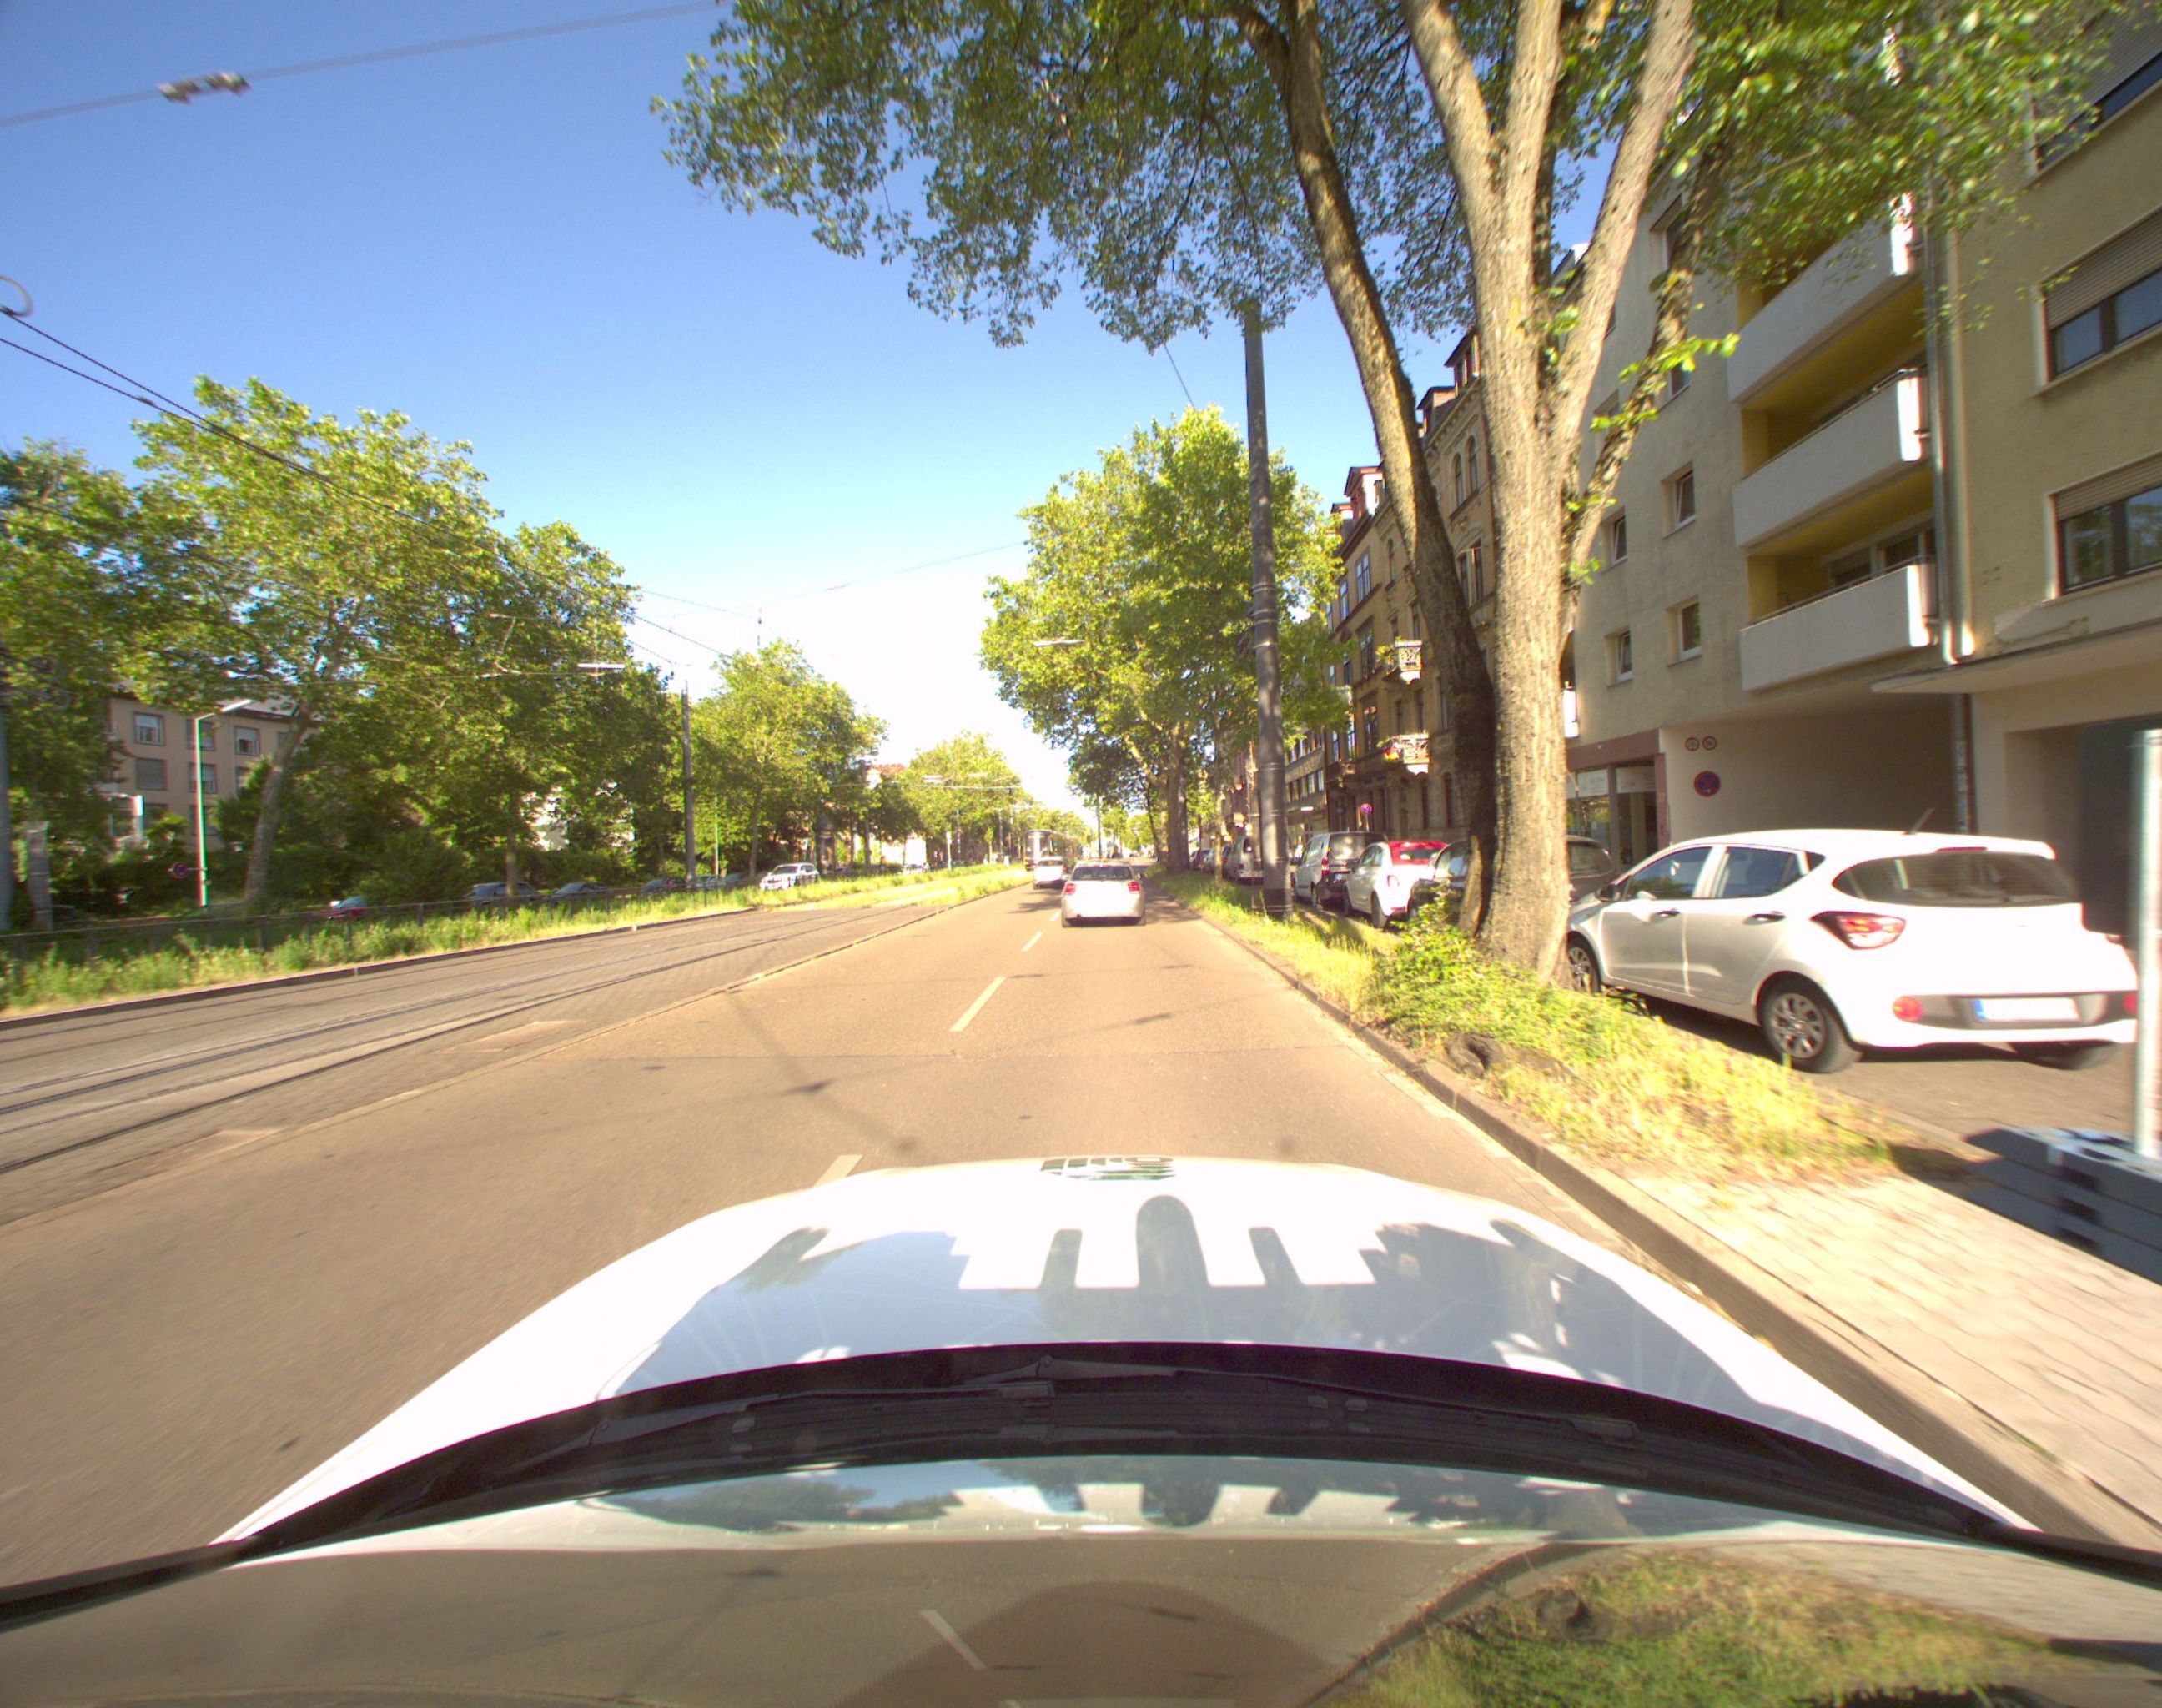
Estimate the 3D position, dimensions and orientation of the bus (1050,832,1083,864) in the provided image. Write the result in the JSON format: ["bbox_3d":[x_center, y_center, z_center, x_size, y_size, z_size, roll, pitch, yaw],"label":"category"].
[{"bbox_3d":[-1.624,-0.698,96.603,2.856,3.444,11.623,-2,0,4],"label":"bus"}]

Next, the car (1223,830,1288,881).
[{"bbox_3d":[6.717,0.026,31.799,1.856,1.815,4.806,0,1,4],"label":"car"}]

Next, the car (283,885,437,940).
[{"bbox_3d":[-26.184,2.074,29.782,1.986,1.622,4.001,0,1,1],"label":"car"}]

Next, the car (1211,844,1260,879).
[{"bbox_3d":[7.045,0.291,37.525,1.697,1.502,4.362,0,0,4],"label":"car"}]

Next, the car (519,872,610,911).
[{"bbox_3d":[-25.607,1.808,40.530,1.814,1.683,4.002,0,1,2],"label":"car"}]

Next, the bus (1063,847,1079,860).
[{"bbox_3d":[-3.006,-0.132,250.823,2.856,3.628,24.630,-2,0,4],"label":"bus"}]

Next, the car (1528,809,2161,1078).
[{"bbox_3d":[5.274,0.472,6.355,1.620,1.477,3.699,0,1,1],"label":"car"}]

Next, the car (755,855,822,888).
[{"bbox_3d":[-16.097,0.926,45.045,1.878,1.619,4.601,0,1,2],"label":"car"}]

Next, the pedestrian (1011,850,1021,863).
[{"bbox_3d":[-8.441,0.307,105.967,1.174,1.643,0.891,-2,-1,-4],"label":"pedestrian"}]

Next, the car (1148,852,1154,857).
[{"bbox_3d":[20.083,0.172,234.272,1.693,1.534,3.721,0,1,4],"label":"car"}]

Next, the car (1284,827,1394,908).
[{"bbox_3d":[5.829,0.245,18.849,1.617,1.668,4.148,0,1,6],"label":"car"}]

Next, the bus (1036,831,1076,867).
[{"bbox_3d":[-2.428,-0.528,84.643,2.856,3.444,12.228,-2,0,4],"label":"bus"}]

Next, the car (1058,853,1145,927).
[{"bbox_3d":[0.514,0.732,18.424,1.755,1.432,4.003,0,1,3],"label":"car"}]

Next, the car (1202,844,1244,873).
[{"bbox_3d":[7.649,0.235,44.173,1.670,1.466,4.673,0,0,3],"label":"car"}]

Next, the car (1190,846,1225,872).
[{"bbox_3d":[7.816,0.280,50.570,1.797,1.490,4.926,0,0,5],"label":"car"}]

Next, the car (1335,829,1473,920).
[{"bbox_3d":[5.797,0.315,14.984,1.504,1.480,3.498,0,1,7],"label":"car"}]

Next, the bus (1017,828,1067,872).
[{"bbox_3d":[-3.243,-0.348,72.001,2.856,3.444,13.231,-2,0,4],"label":"bus"}]

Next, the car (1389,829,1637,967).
[{"bbox_3d":[5.386,0.449,10.721,1.554,1.485,3.793,0,1,5],"label":"car"}]

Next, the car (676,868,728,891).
[{"bbox_3d":[-24.272,1.605,52.266,1.561,1.312,3.507,0,1,3],"label":"car"}]

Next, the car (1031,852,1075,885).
[{"bbox_3d":[-1.247,0.632,37.366,1.639,1.362,3.764,0,1,4],"label":"car"}]

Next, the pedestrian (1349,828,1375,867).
[{"bbox_3d":[13.634,-0.320,39.561,0.995,1.840,0.716,-2,0,5],"label":"pedestrian"}]

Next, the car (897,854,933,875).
[{"bbox_3d":[-12.608,0.774,62.147,1.838,1.530,3.876,0,1,1],"label":"car"}]

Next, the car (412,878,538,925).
[{"bbox_3d":[-25.819,1.974,34.936,1.987,1.683,4.515,0,1,1],"label":"car"}]

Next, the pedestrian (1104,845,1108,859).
[{"bbox_3d":[3.503,-0.282,112.775,0.449,1.902,0.584,-2,0,-4],"label":"pedestrian"}]
